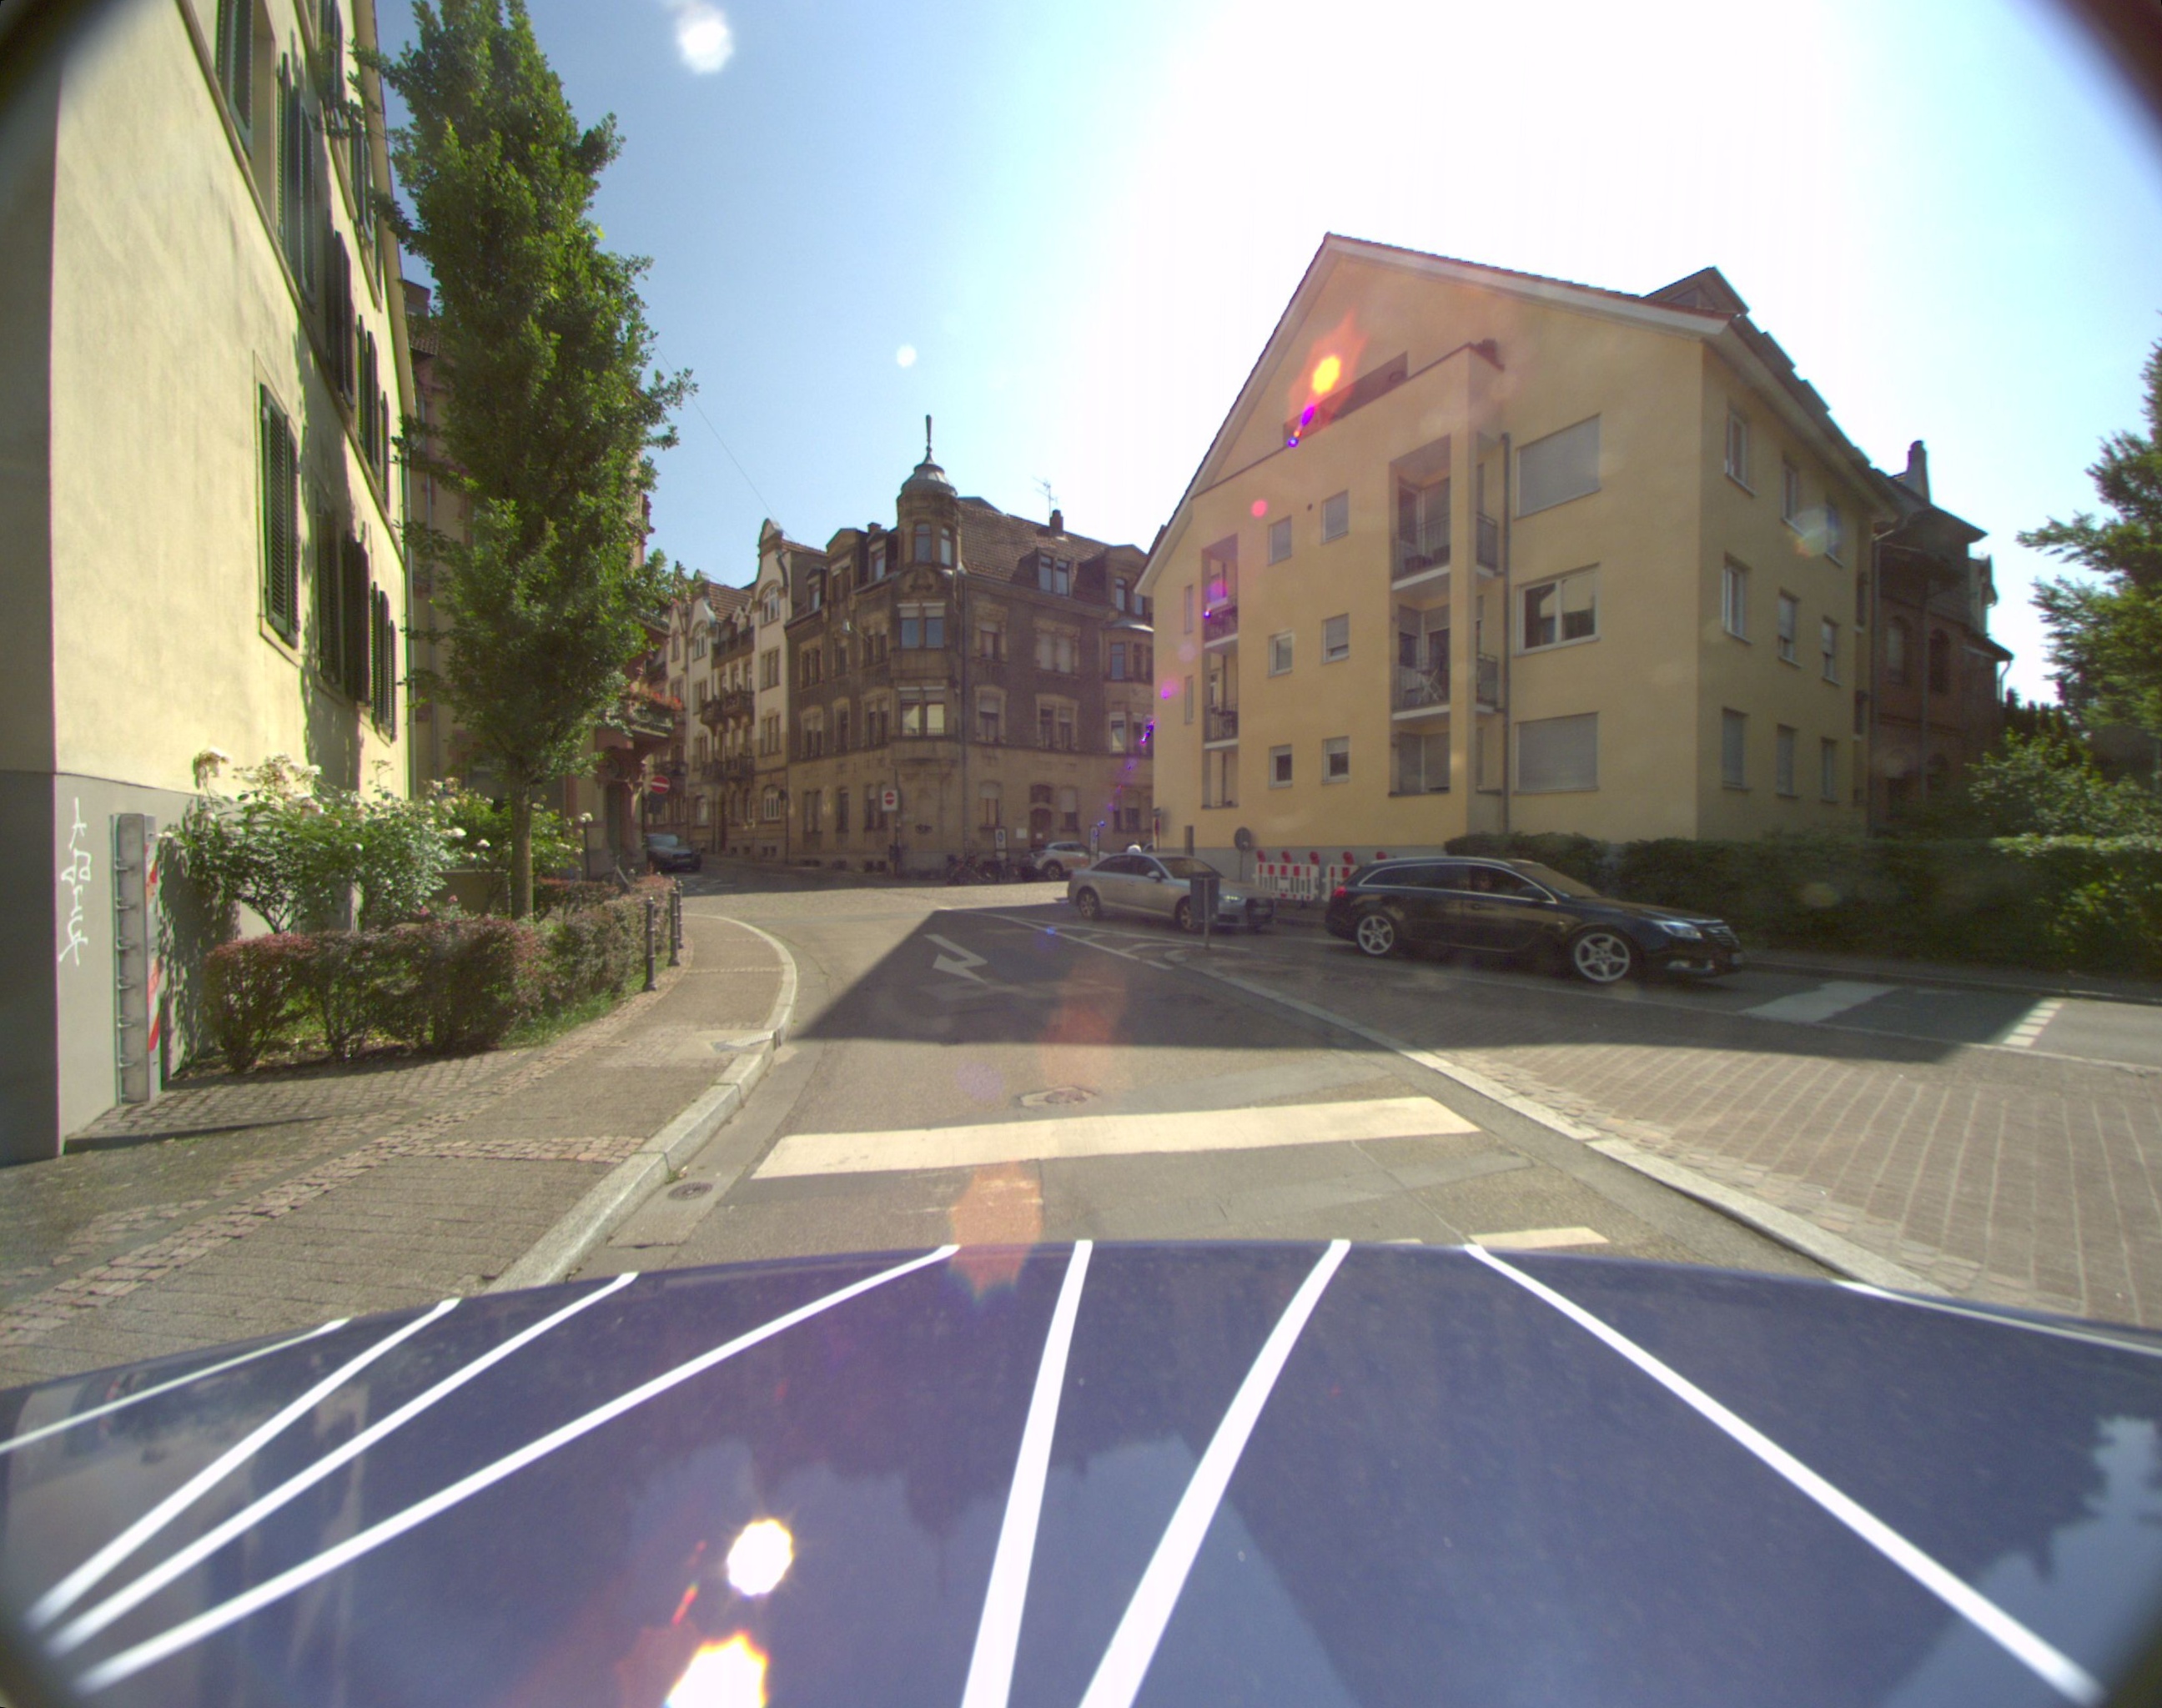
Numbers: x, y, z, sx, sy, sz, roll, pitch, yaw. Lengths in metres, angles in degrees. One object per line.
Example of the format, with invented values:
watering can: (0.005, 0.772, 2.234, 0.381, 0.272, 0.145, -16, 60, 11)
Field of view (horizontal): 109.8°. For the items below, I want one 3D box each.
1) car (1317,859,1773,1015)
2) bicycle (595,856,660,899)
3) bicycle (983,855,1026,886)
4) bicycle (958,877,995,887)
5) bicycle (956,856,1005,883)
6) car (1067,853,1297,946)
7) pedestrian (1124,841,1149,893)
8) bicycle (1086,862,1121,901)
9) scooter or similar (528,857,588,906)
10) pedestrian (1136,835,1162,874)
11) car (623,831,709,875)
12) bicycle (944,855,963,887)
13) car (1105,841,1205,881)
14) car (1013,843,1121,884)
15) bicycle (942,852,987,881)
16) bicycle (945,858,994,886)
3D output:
car: (5.611, 0.847, 9.831, 1.723, 1.453, 4.711, 2, 0, -39)
bicycle: (-12.770, 0.645, 21.382, 1.789, 1.140, 0.506, 1, 1, 18)
bicycle: (-2.845, 0.614, 28.144, 1.638, 1.079, 0.286, -2, -2, 26)
bicycle: (-3.822, 1.024, 27.712, 1.080, 0.286, 1.121, 0, 1, -22)
bicycle: (-3.755, 0.578, 28.334, 1.637, 1.084, 0.285, 2, 46, 43)
car: (1.799, 0.753, 14.841, 1.881, 1.484, 4.370, -1, 1, -38)
pedestrian: (1.759, 0.390, 24.077, 0.658, 1.609, 0.492, -1, 2, -24)
bicycle: (0.639, 0.797, 22.606, 0.392, 1.073, 1.906, 0, 1, -19)
scooter or similar: (-13.595, 0.704, 19.779, 0.441, 1.228, 1.193, 1, 2, 40)
pedestrian: (3.132, -0.005, 35.063, 0.982, 1.749, 0.621, -2, 6, -37)
car: (-17.246, -0.098, 31.514, 4.246, 1.574, 1.866, 3, 5, 43)
bicycle: (-4.636, 0.607, 27.609, 0.286, 1.080, 1.639, -4, 2, -22)
car: (3.209, 0.276, 32.647, 4.007, 1.535, 1.848, -2, 1, -35)
car: (-0.521, 0.324, 30.046, 3.936, 1.535, 1.847, -1, 1, -37)
bicycle: (-4.595, 0.491, 29.998, 1.645, 1.080, 0.494, 0, 5, -37)
bicycle: (-4.105, 0.652, 27.981, 1.637, 1.084, 0.285, 2, 46, 43)
